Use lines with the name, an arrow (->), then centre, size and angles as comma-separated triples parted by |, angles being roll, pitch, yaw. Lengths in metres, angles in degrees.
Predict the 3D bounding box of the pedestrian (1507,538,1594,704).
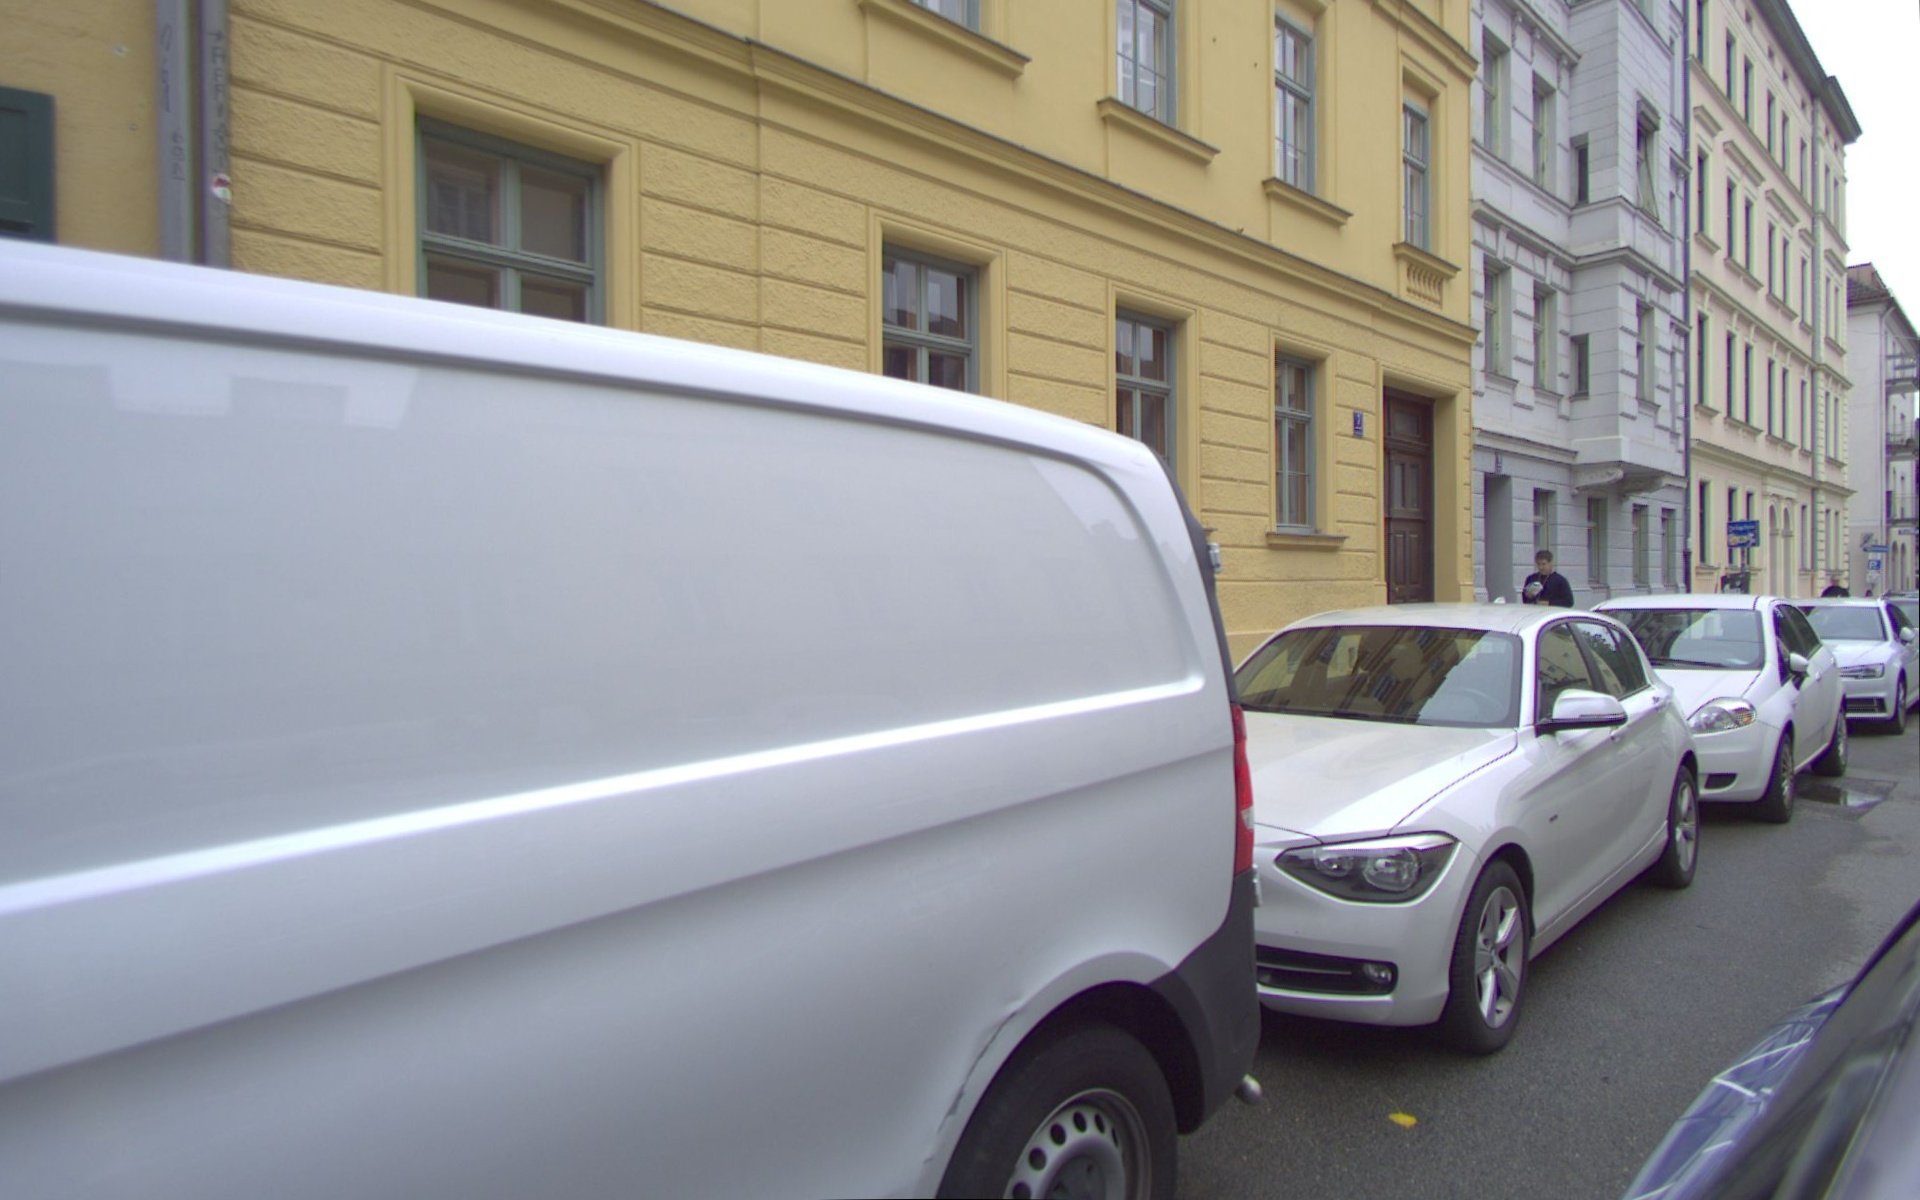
pedestrian -> 7.448, 0.230, 12.769 | 0.696, 2.004, 0.671 | -2, 4, -40

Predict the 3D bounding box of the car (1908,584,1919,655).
car -> 23.030, 0.406, 22.990 | 4.200, 1.540, 1.757 | -1, 1, -41

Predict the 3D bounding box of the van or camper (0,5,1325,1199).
van or camper -> -1.653, 0.437, 1.364 | 4.990, 1.895, 1.837 | -1, 0, -41

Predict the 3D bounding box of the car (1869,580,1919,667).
car -> 19.412, 0.407, 19.906 | 4.389, 1.603, 1.746 | -1, 1, -41

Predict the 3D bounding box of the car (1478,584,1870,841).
car -> 5.694, 0.629, 7.865 | 4.028, 1.472, 1.710 | -1, 1, -43

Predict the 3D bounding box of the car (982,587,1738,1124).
car -> 2.172, 0.665, 4.756 | 4.136, 1.410, 1.710 | -1, 1, -43

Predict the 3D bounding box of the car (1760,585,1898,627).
car -> 35.368, 0.227, 41.260 | 1.724, 1.626, 4.094 | 2, -1, -42

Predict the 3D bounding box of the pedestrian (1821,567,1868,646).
pedestrian -> 20.339, 0.131, 23.271 | 0.987, 1.738, 0.720 | -2, 2, -42

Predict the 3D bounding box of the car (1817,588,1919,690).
car -> 14.849, 0.529, 15.877 | 4.137, 1.422, 1.709 | -1, 1, -43

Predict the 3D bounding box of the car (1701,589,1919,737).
car -> 10.610, 0.598, 12.184 | 4.730, 1.426, 1.711 | -1, 1, -41
